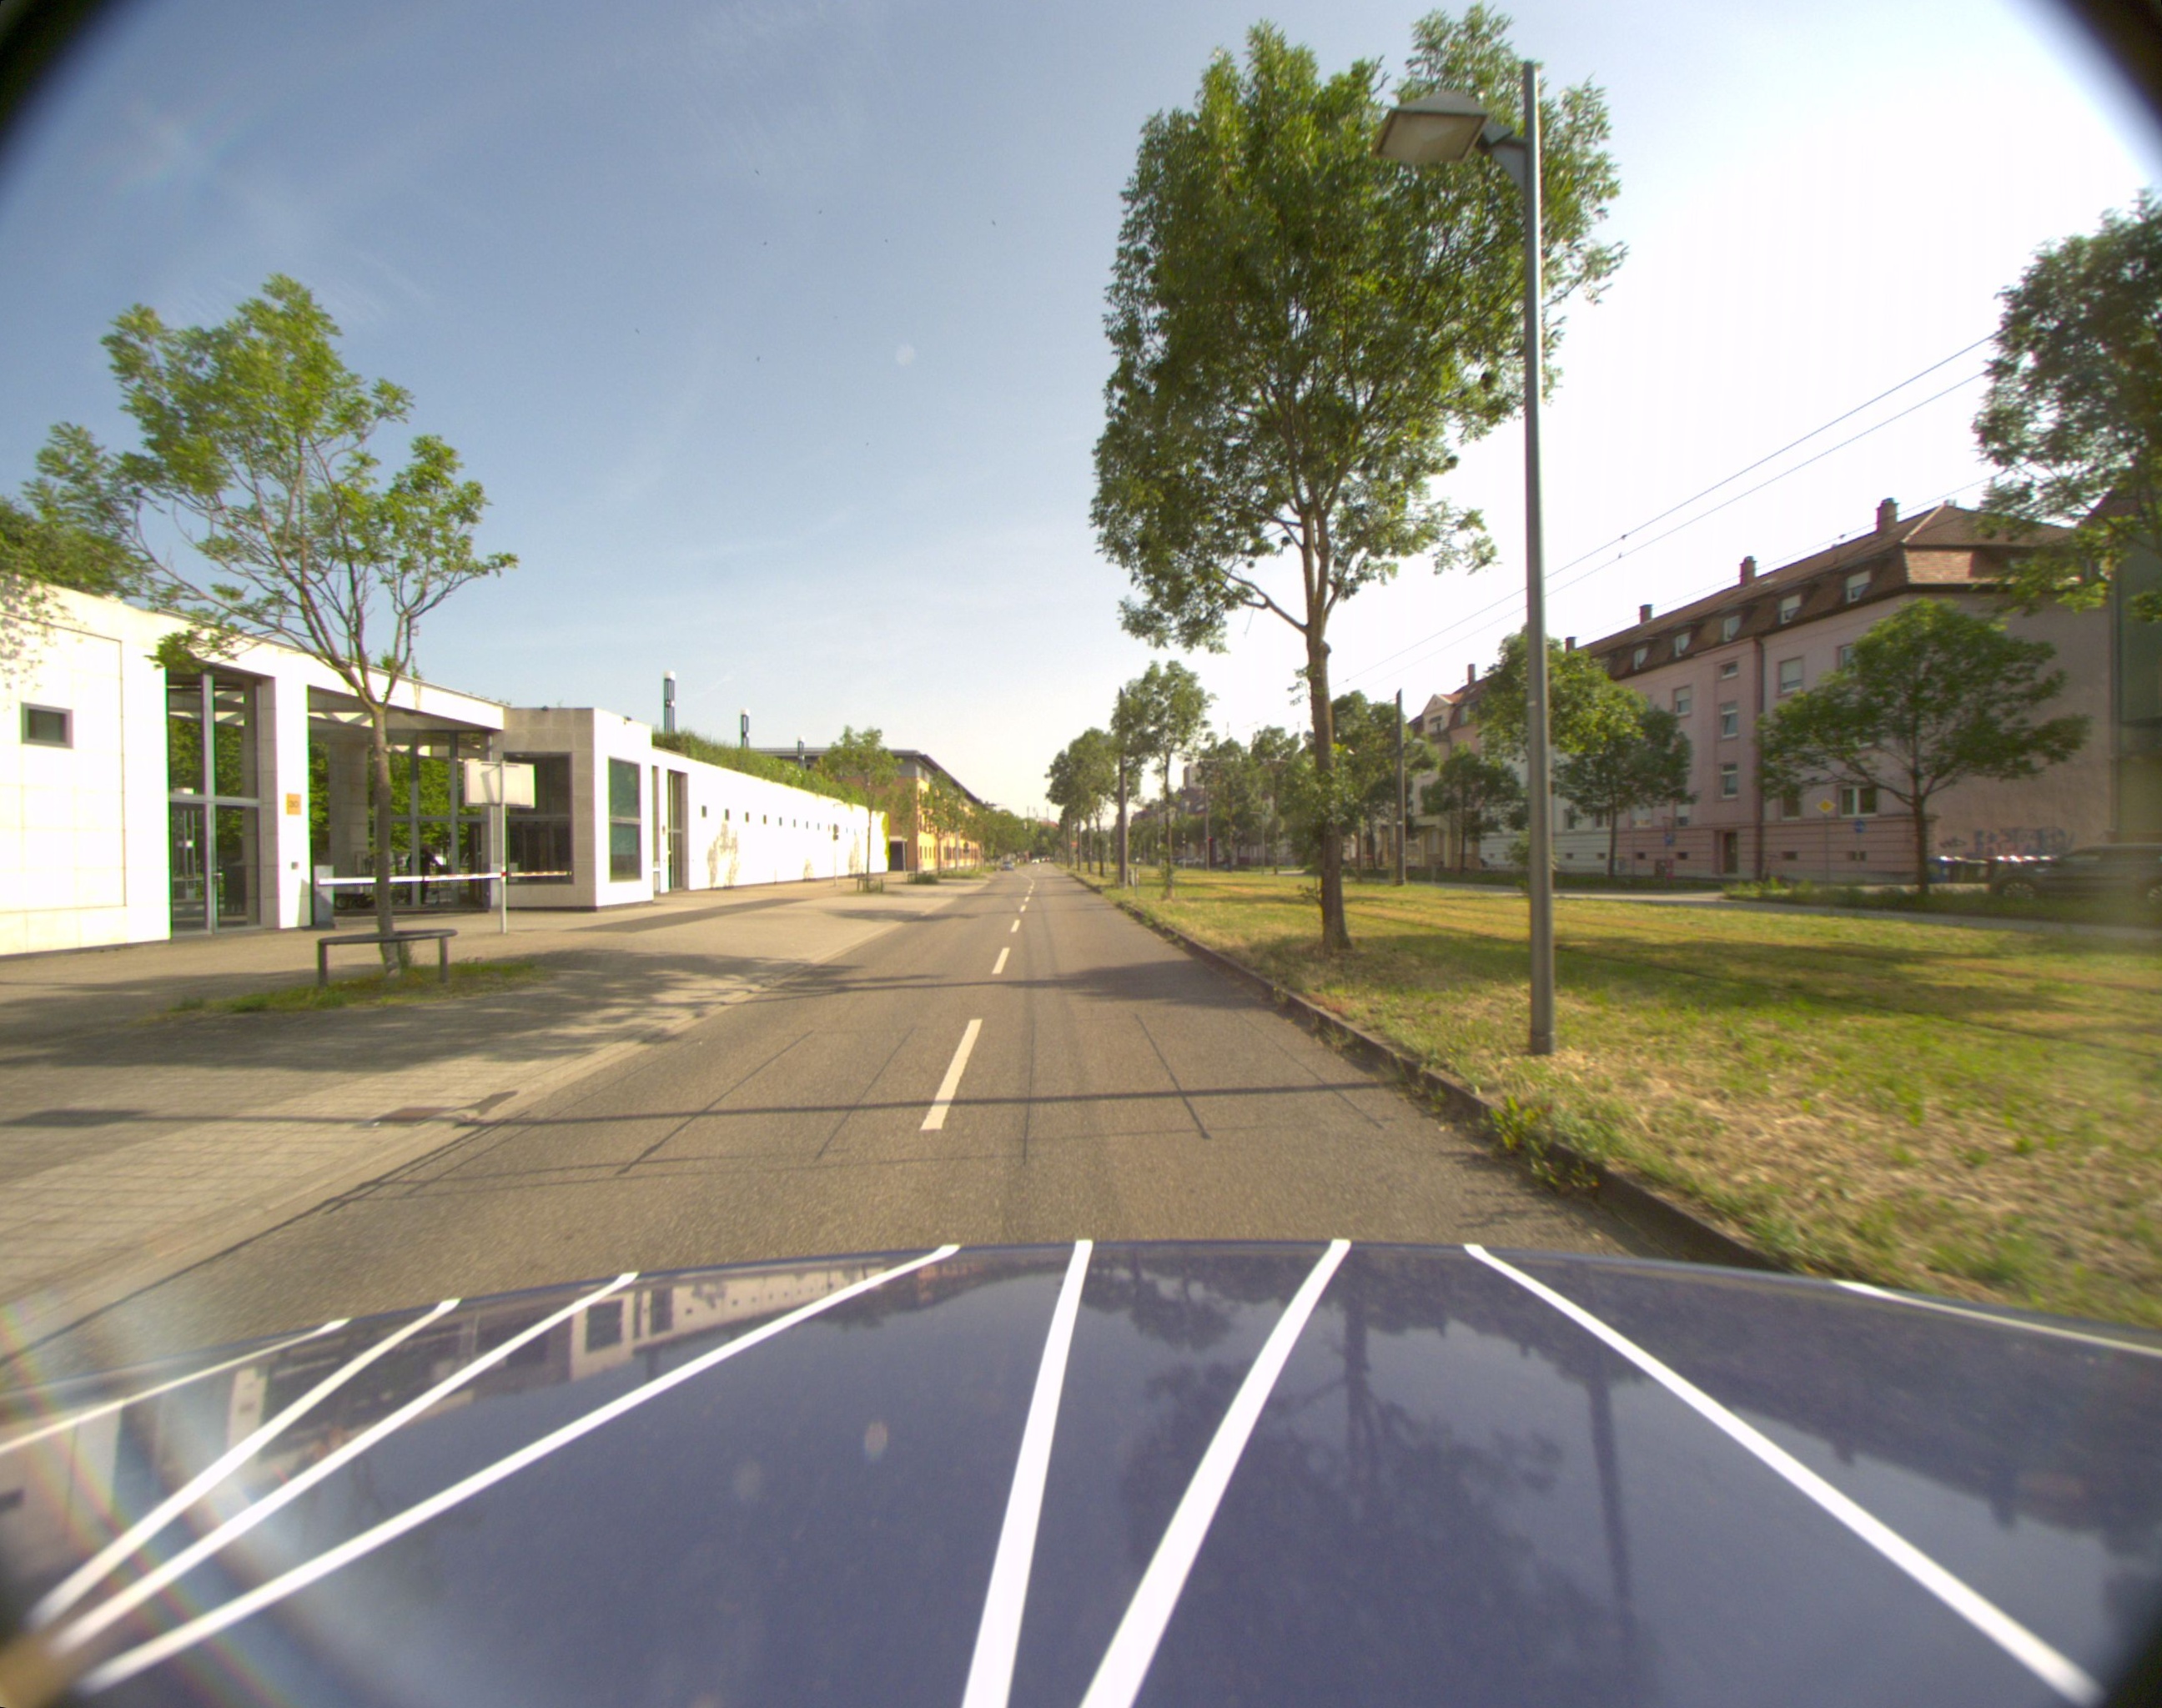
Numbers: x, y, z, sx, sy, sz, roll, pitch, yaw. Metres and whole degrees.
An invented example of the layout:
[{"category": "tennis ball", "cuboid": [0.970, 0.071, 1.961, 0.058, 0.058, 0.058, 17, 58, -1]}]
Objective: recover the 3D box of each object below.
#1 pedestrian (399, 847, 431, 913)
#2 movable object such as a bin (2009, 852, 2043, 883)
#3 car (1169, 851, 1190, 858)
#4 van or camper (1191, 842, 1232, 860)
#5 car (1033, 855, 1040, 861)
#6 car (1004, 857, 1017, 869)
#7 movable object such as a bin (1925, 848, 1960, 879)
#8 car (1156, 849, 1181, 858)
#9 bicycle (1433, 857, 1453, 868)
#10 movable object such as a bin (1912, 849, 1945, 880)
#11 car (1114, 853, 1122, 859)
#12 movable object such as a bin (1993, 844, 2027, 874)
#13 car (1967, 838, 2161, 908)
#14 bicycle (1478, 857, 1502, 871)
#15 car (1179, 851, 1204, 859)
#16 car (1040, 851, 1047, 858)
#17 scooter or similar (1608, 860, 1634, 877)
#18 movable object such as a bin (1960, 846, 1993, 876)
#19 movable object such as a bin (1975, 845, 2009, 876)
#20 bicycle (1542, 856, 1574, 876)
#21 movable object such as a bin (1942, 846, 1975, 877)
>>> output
[{"category": "pedestrian", "cuboid": [-19.522, 0.739, 22.268, 0.558, 1.862, 0.593, -4, 4, -36]}, {"category": "movable object such as a bin", "cuboid": [38.431, 0.536, 30.912, 0.587, 1.204, 0.640, -3, 1, -4]}, {"category": "car", "cuboid": [19.303, 0.058, 148.986, 3.677, 1.234, 1.665, -2, 1, 32]}, {"category": "van or camper", "cuboid": [21.058, -0.516, 122.685, 5.910, 2.559, 2.203, -2, 1, 32]}, {"category": "car", "cuboid": [-11.711, 1.021, 199.066, 1.693, 1.476, 3.364, -3, 1, -4]}, {"category": "car", "cuboid": [-9.864, 1.258, 105.990, 1.629, 1.476, 3.364, -3, 1, -4]}, {"category": "movable object such as a bin", "cuboid": [34.845, 0.373, 30.734, 0.587, 1.204, 0.640, -6, 2, -4]}, {"category": "car", "cuboid": [18.742, -0.087, 162.471, 4.939, 1.716, 1.860, -2, 1, 32]}, {"category": "bicycle", "cuboid": [28.329, 0.675, 59.479, 0.438, 0.784, 1.946, -3, 1, -4]}, {"category": "movable object such as a bin", "cuboid": [34.223, 0.428, 30.690, 0.587, 1.204, 0.640, -3, 1, -4]}, {"category": "car", "cuboid": [10.703, 0.593, 217.646, 1.817, 1.425, 3.924, -3, 1, -3]}, {"category": "movable object such as a bin", "cuboid": [37.770, 0.195, 30.888, 0.587, 1.204, 0.640, -3, 1, -4]}, {"category": "car", "cuboid": [27.146, 0.456, 19.955, 1.999, 1.619, 4.773, -3, 1, -4]}, {"category": "bicycle", "cuboid": [28.488, 0.697, 52.963, 0.448, 0.852, 1.946, -3, 1, -4]}, {"category": "car", "cuboid": [19.739, 0.160, 135.819, 4.004, 1.309, 1.665, -2, 1, 32]}, {"category": "car", "cuboid": [-11.535, 0.079, 233.969, 1.999, 2.002, 3.999, -3, 1, -2]}, {"category": "scooter or similar", "cuboid": [28.716, 0.767, 40.419, 0.605, 0.808, 1.221, -3, 1, 8]}, {"category": "movable object such as a bin", "cuboid": [36.313, 0.273, 30.805, 0.587, 1.204, 0.640, -3, 1, -4]}, {"category": "movable object such as a bin", "cuboid": [36.961, 0.253, 30.830, 0.587, 1.204, 0.640, -3, 1, -4]}, {"category": "bicycle", "cuboid": [28.799, 0.718, 45.923, 0.605, 1.121, 1.946, -3, 1, -4]}, {"category": "movable object such as a bin", "cuboid": [35.534, 0.300, 30.771, 0.587, 1.204, 0.640, -3, 1, -4]}]
